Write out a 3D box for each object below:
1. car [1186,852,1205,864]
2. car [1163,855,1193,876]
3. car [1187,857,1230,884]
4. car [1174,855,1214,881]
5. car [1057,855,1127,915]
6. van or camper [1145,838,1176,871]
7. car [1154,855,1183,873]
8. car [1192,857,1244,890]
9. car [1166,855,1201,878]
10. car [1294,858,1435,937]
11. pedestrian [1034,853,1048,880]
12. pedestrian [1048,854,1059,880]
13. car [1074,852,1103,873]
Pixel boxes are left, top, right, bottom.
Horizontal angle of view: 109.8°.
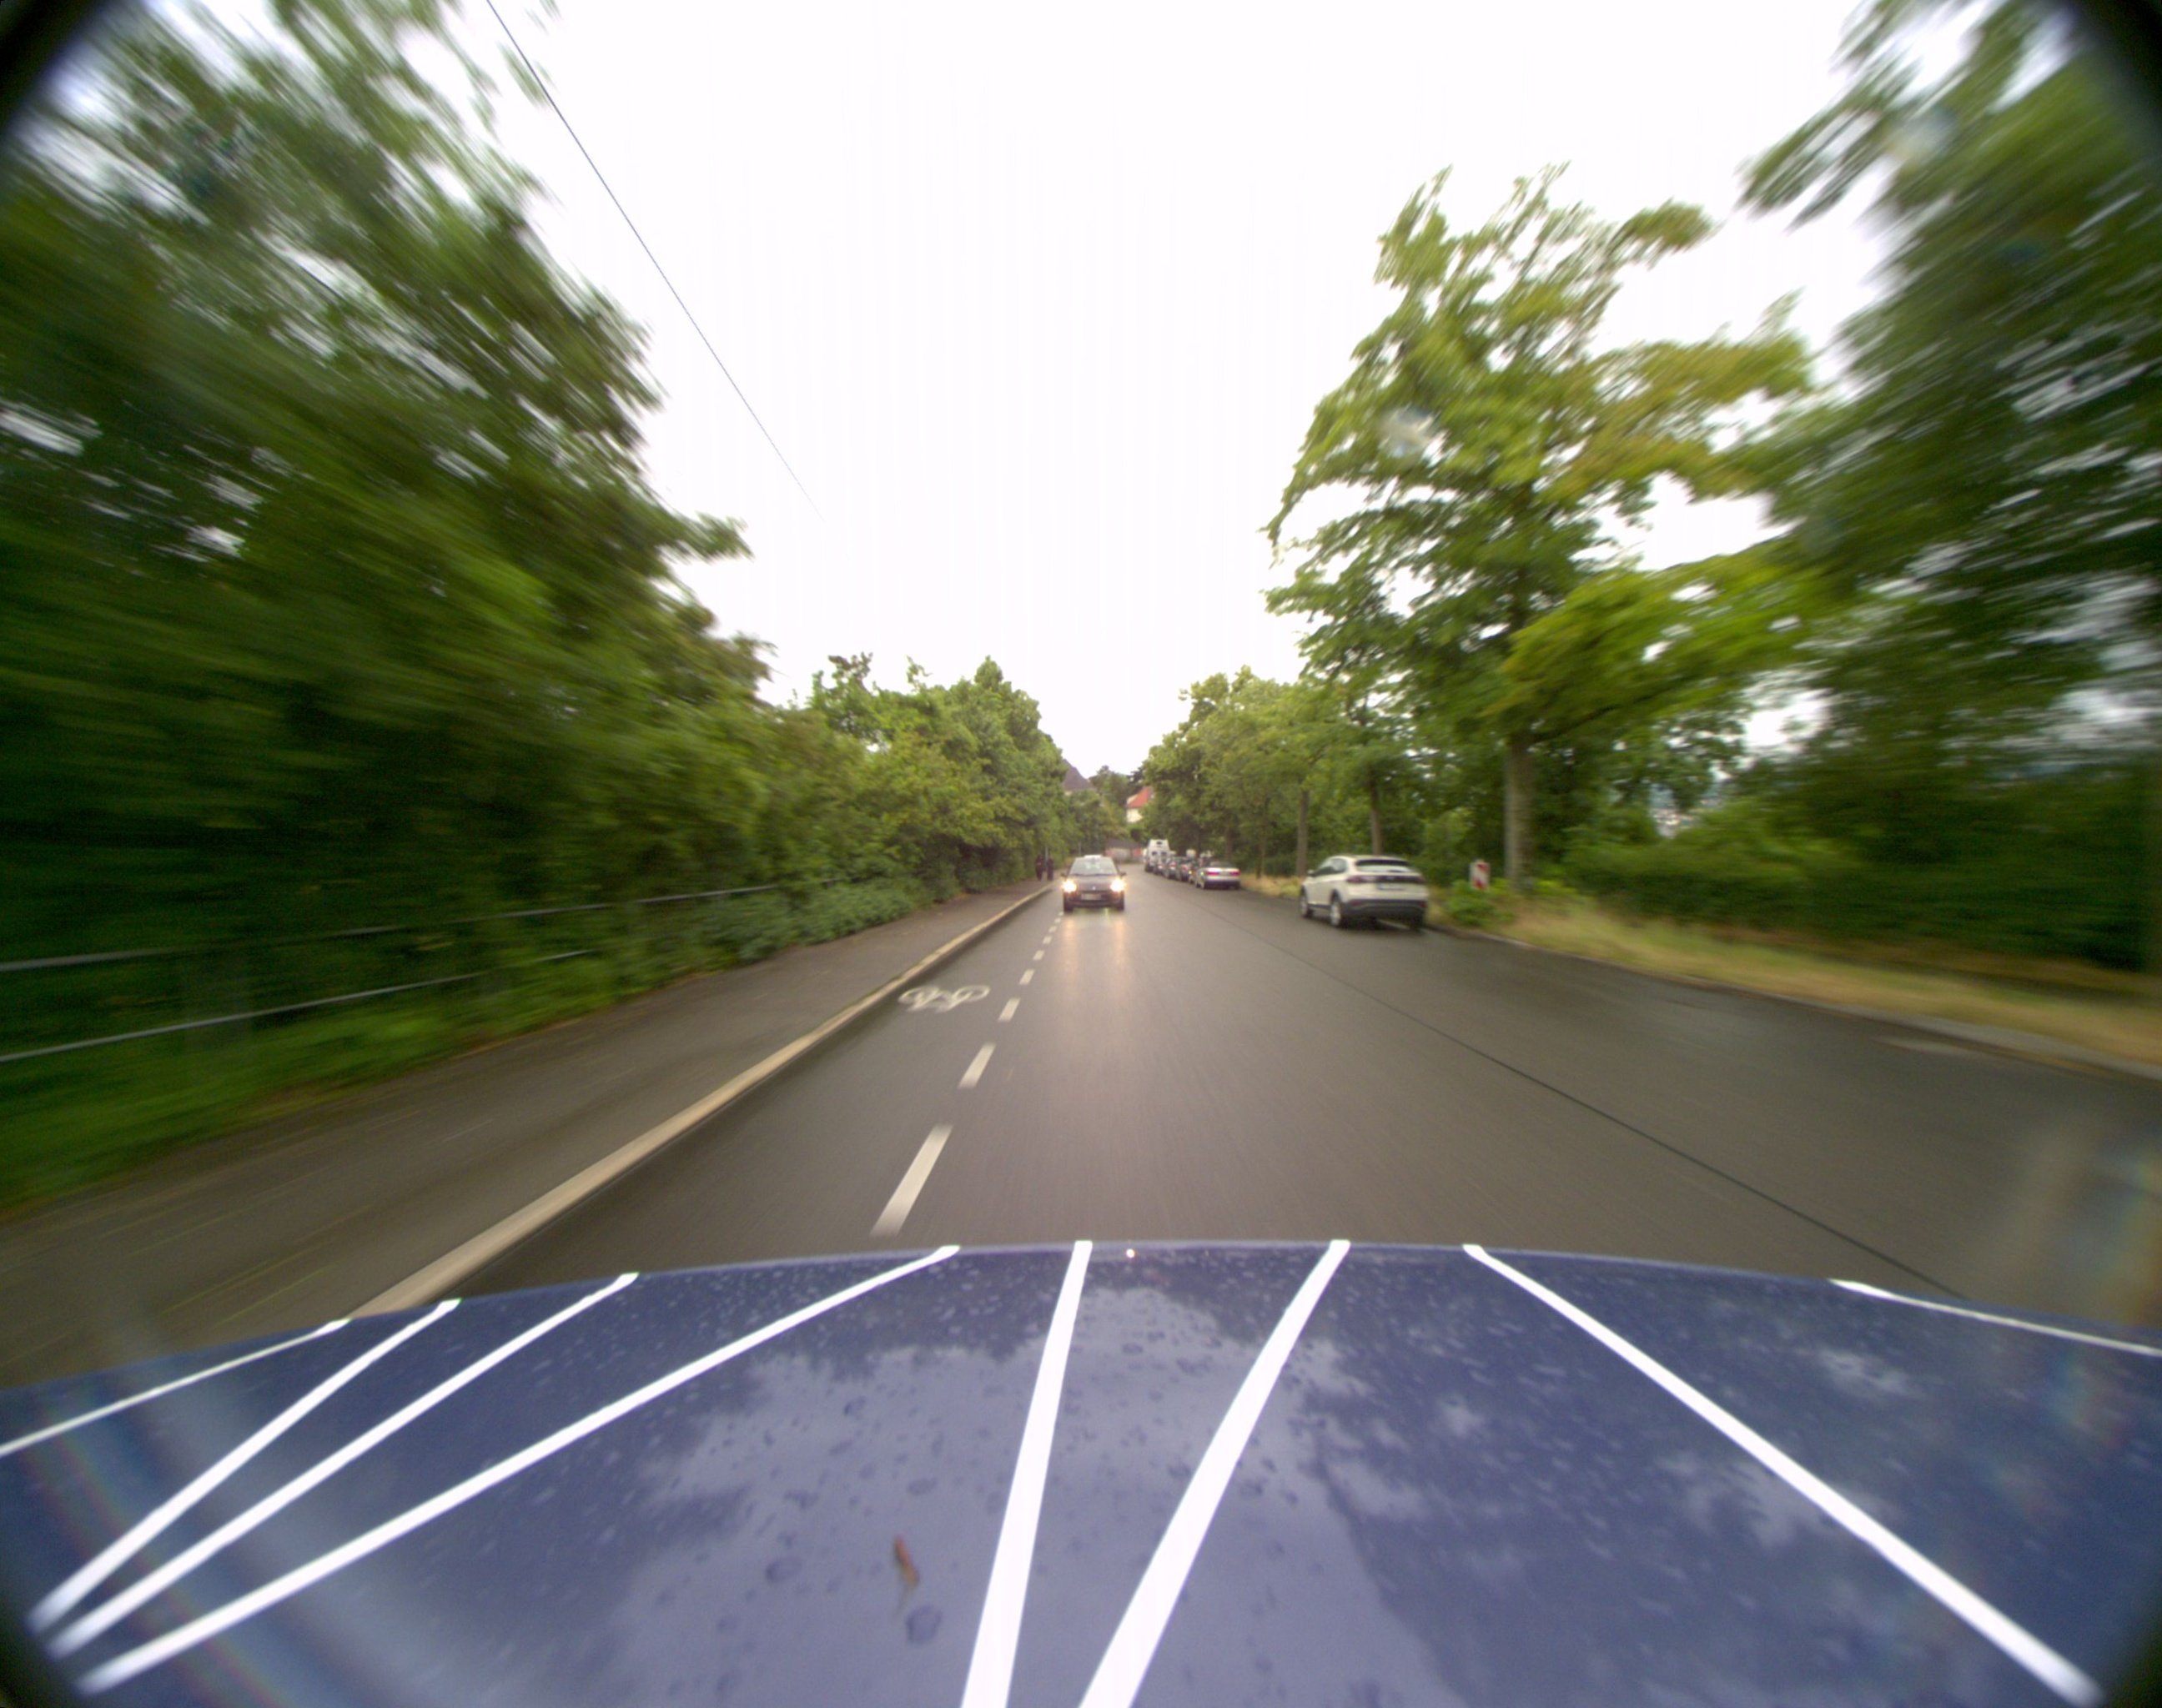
[{"bbox_3d":[16.663,0.528,110.283,1.684,1.501,4.212,4,2,24],"label":"car"},{"bbox_3d":[7.097,0.833,55.833,1.998,1.397,4.716,1,-1,5],"label":"car"},{"bbox_3d":[6.806,0.850,40.956,1.599,1.354,4.000,0,1,-1],"label":"car"},{"bbox_3d":[6.774,0.819,46.013,1.998,1.397,4.714,1,1,4],"label":"car"},{"bbox_3d":[0.276,0.809,22.039,1.804,1.419,4.381,-1,2,0],"label":"car"},{"bbox_3d":[7.545,-0.035,72.712,2.511,3.009,6.561,0,1,2],"label":"van or camper"},{"bbox_3d":[7.088,0.810,62.018,1.998,1.301,5.356,1,-1,3],"label":"car"},{"bbox_3d":[6.383,0.856,35.838,1.759,1.394,4.419,0,1,1],"label":"car"},{"bbox_3d":[6.812,0.789,50.961,1.998,1.397,4.714,1,1,4],"label":"car"},{"bbox_3d":[6.005,0.848,16.616,1.692,1.429,4.256,0,1,3],"label":"car"},{"bbox_3d":[-2.428,0.756,46.104,0.598,1.558,0.667,2,4,-19],"label":"pedestrian"},{"bbox_3d":[-1.652,0.783,46.348,0.553,1.558,0.487,3,3,5],"label":"pedestrian"},{"bbox_3d":[0.641,0.683,61.005,2.030,1.619,4.229,0,1,6],"label":"car"}]
